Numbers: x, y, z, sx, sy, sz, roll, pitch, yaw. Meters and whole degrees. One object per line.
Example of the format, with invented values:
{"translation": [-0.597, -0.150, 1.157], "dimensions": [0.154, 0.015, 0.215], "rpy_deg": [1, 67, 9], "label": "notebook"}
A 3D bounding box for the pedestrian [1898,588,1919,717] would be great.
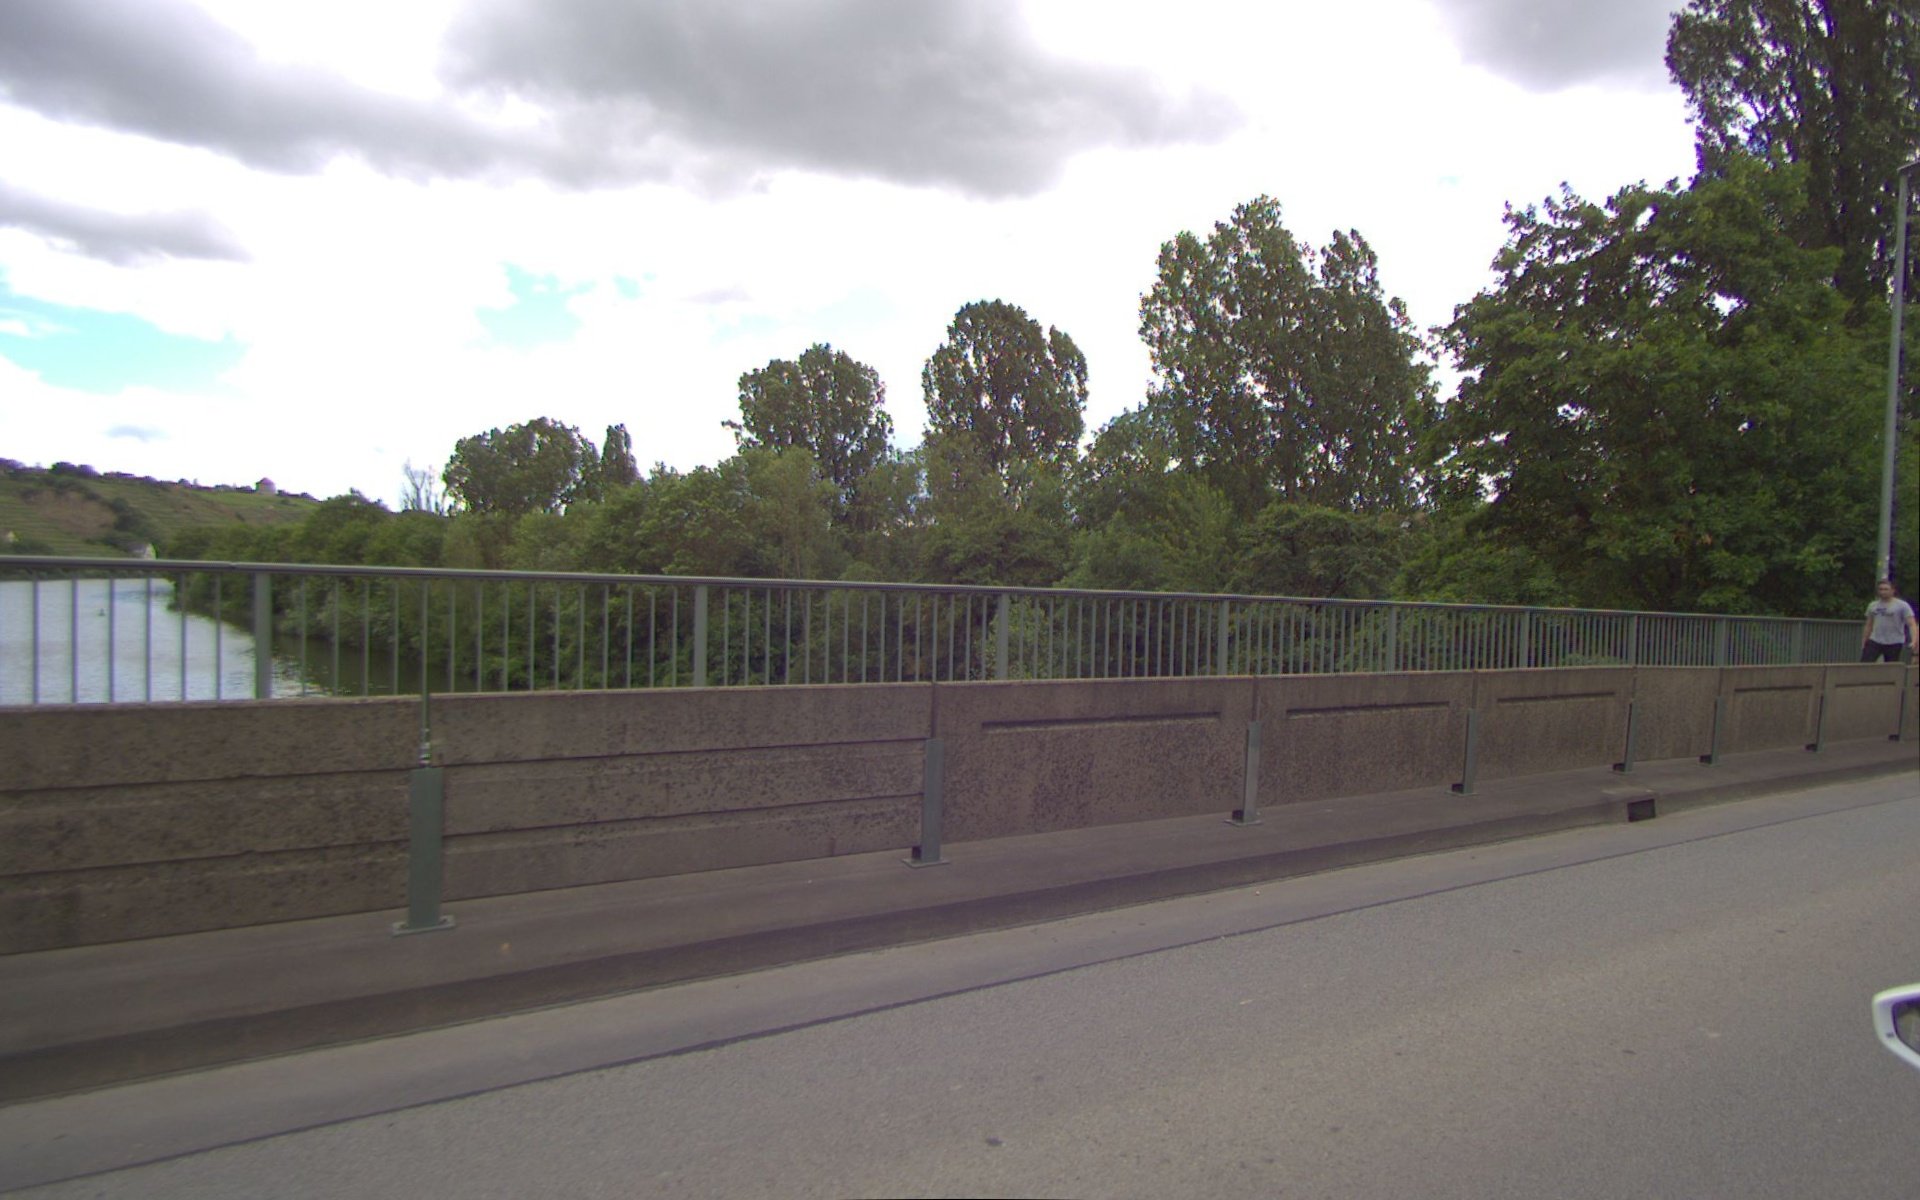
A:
{"translation": [13.311, 0.718, 13.560], "dimensions": [0.714, 1.724, 0.717], "rpy_deg": [1, 1, -30], "label": "pedestrian"}

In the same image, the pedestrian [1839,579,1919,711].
{"translation": [13.493, 0.635, 14.684], "dimensions": [0.714, 1.864, 0.717], "rpy_deg": [1, 1, -30], "label": "pedestrian"}
